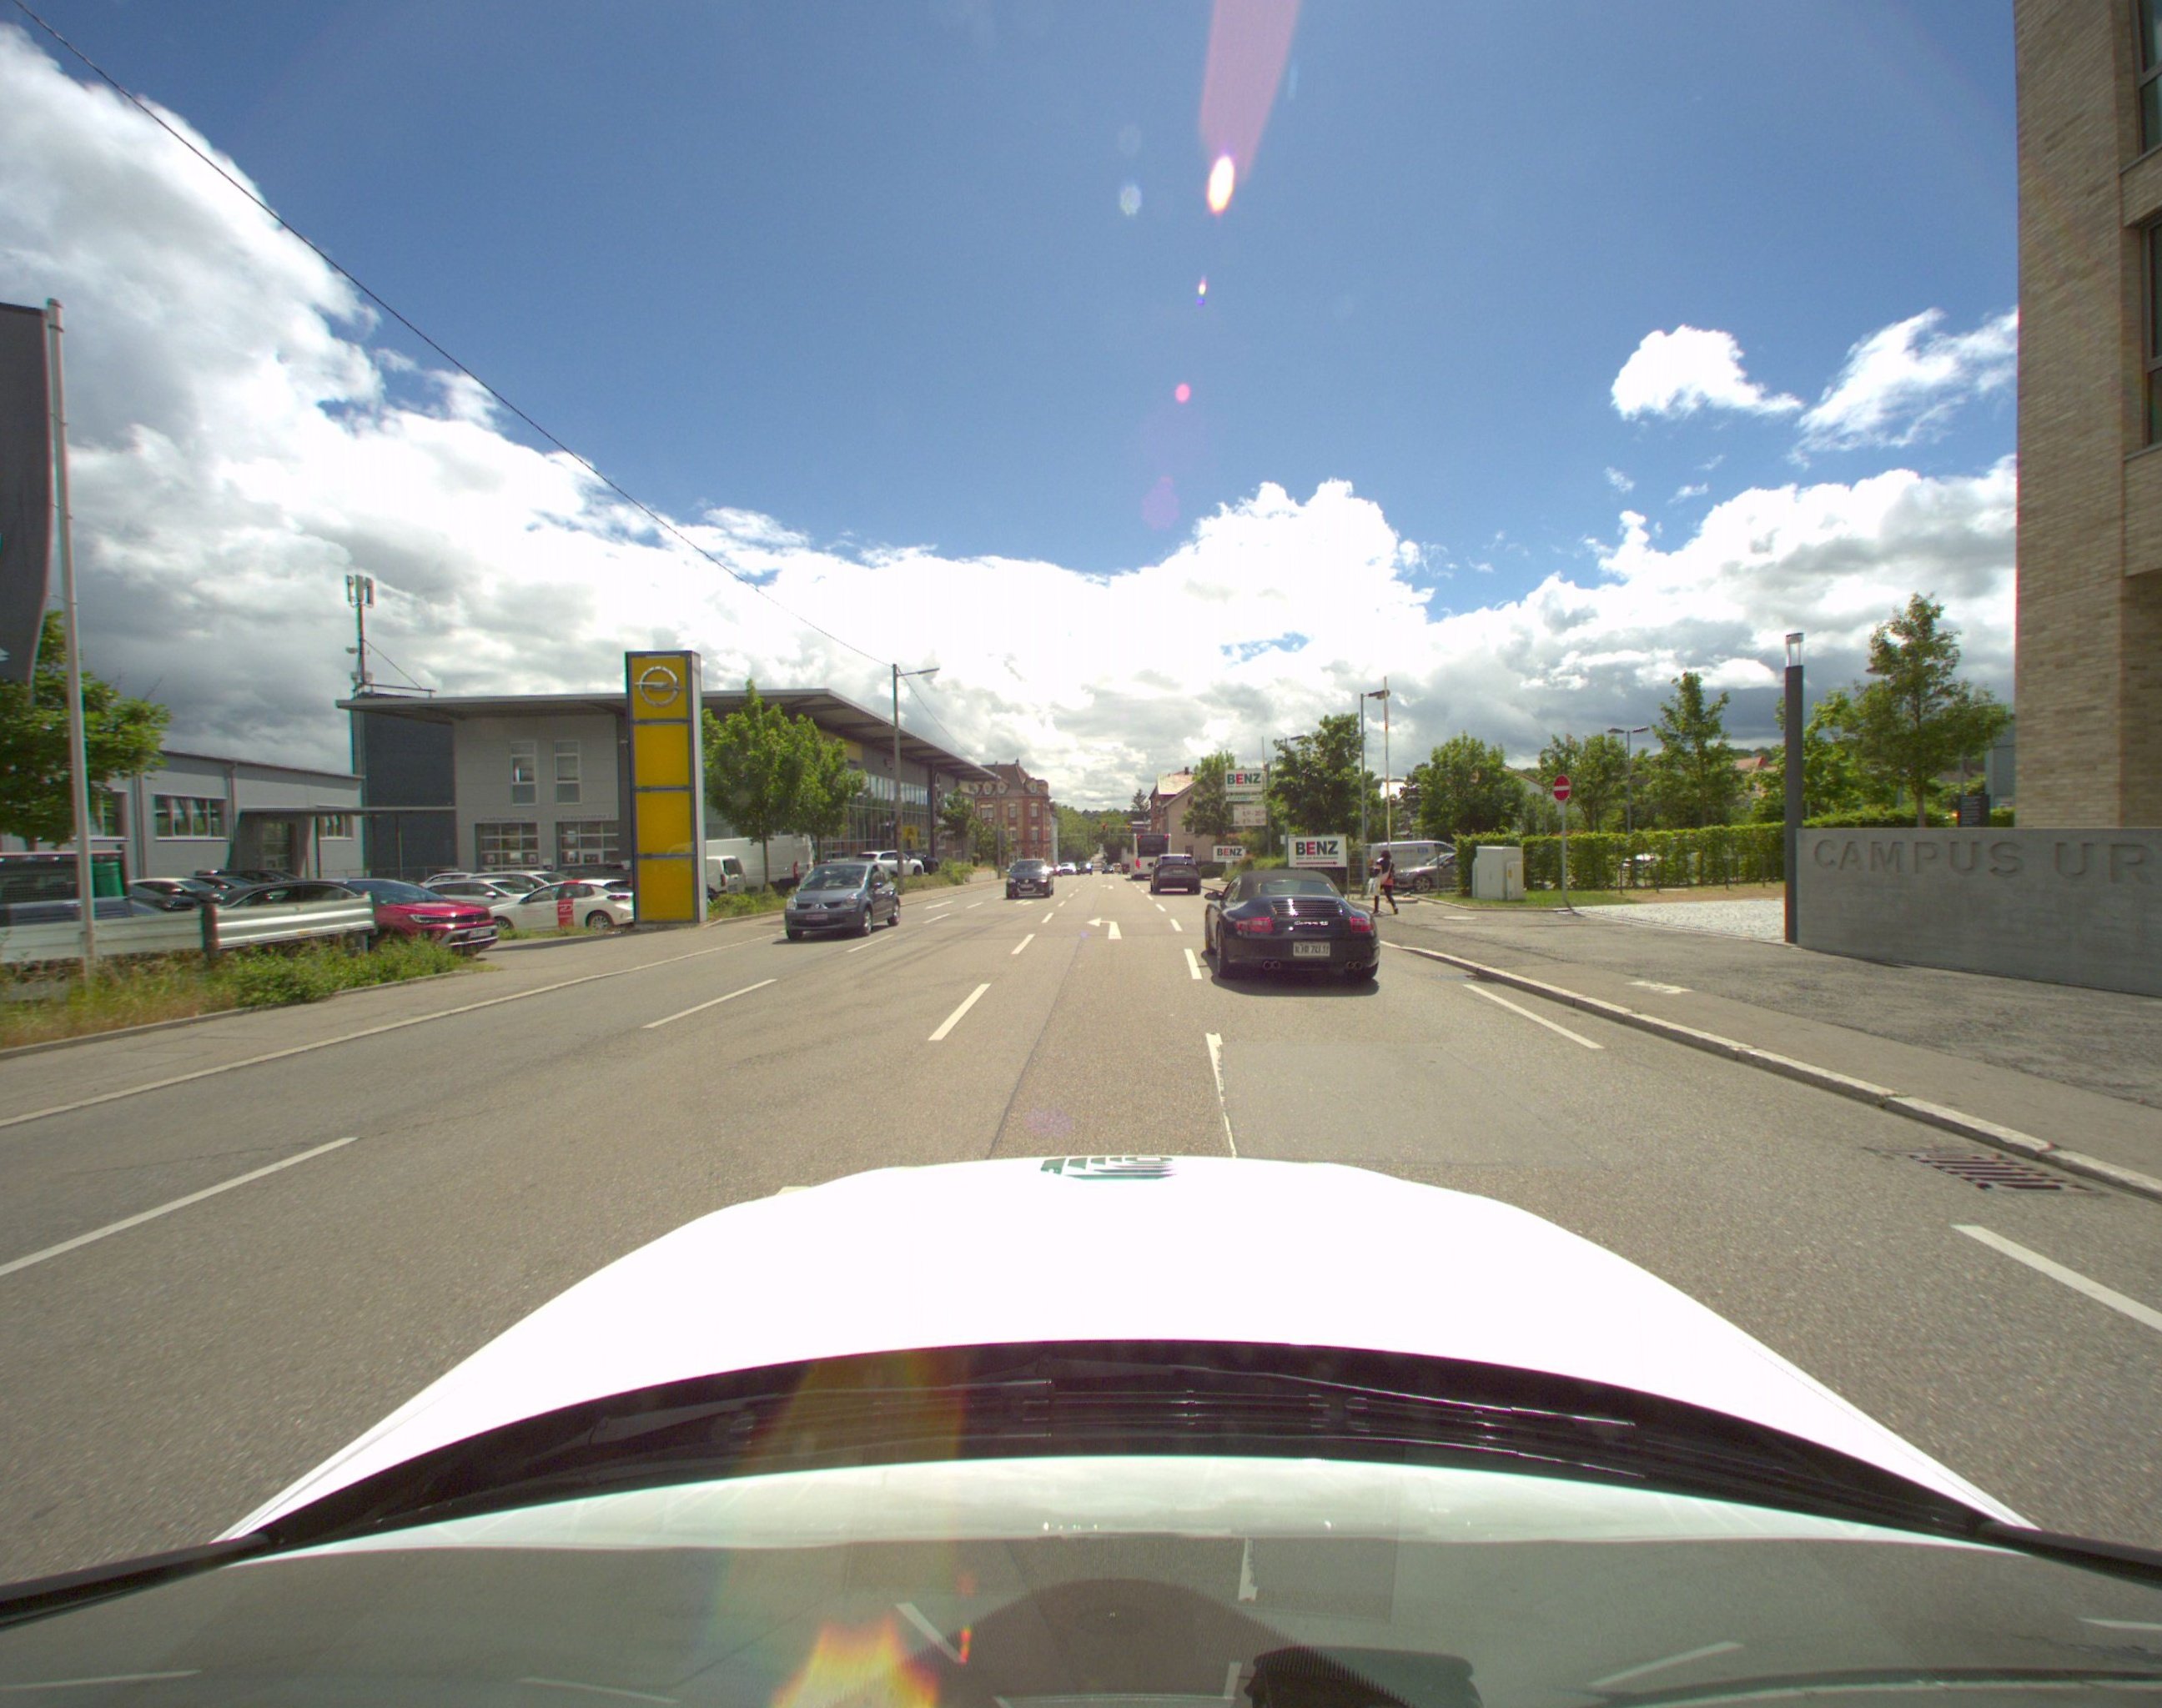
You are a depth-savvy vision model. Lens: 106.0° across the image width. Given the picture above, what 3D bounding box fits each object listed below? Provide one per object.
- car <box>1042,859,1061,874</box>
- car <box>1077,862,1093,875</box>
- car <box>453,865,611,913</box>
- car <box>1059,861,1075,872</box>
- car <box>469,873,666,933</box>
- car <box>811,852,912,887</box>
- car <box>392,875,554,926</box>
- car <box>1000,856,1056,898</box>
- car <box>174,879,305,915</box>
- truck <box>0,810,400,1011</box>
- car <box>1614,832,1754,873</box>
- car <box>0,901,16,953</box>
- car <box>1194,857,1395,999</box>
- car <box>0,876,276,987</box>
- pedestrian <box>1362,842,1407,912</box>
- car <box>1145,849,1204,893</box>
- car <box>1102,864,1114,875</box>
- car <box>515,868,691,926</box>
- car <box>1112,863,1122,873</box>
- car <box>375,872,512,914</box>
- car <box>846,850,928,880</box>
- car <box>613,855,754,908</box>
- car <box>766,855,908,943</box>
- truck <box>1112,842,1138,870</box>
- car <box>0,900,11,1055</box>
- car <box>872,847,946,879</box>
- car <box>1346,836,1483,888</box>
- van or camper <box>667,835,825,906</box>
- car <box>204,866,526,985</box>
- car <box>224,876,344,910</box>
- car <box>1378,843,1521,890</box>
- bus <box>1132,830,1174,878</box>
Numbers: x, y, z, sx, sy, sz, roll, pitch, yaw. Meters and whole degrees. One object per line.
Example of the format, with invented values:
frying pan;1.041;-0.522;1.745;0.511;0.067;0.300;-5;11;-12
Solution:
car;-3.168;1.313;89.530;1.865;1.491;3.847;-4;0;0
car;0.517;1.786;100.005;1.857;1.540;4.108;-1;-1;1
car;-19.247;1.203;28.674;4.212;1.536;1.929;-1;-1;1
car;-1.853;1.692;111.071;1.856;1.540;4.109;-1;-1;2
car;-13.621;1.276;21.790;3.973;1.409;2.000;-1;-1;0
car;-10.658;0.717;39.939;1.877;1.450;4.863;0;2;30
car;-19.310;1.453;26.007;3.685;1.398;1.846;-1;1;-2
car;-2.015;0.858;32.201;1.823;1.509;4.277;-2;0;1
car;-36.035;1.806;34.971;3.475;1.283;1.654;-2;2;-16
truck;-12.618;0.707;10.274;5.844;2.148;2.475;-2;-1;-1
car;24.862;-0.071;33.680;4.419;1.491;1.888;-3;0;-1
car;-31.627;2.055;21.254;4.244;1.409;1.914;-1;-1;-22
car;2.605;0.814;10.951;1.921;1.376;4.215;-1;2;5
car;-16.992;1.341;14.153;4.065;1.522;1.827;-4;1;1
pedestrian;6.886;0.504;18.505;0.685;1.536;0.856;-2;0;2
car;3.762;0.651;33.362;1.924;1.583;4.208;-1;1;0
car;4.145;2.397;126.328;1.857;1.666;4.260;-2;-1;1
car;-14.050;1.249;24.092;3.968;1.491;2.003;-1;2;4
car;7.216;2.819;165.024;1.826;1.881;4.000;-2;0;1
car;-24.615;1.484;31.556;3.688;1.398;1.845;-1;2;-4
car;-10.667;0.577;45.054;1.913;1.573;4.580;-2;-1;25
car;-13.990;0.942;28.825;3.965;1.705;2.005;-1;1;7
car;-5.236;0.886;18.060;1.737;1.595;4.043;-4;0;1
truck;5.416;0.305;100.782;2.658;3.108;9.034;-2;-1;0
car;-13.269;1.327;7.676;3.870;1.609;1.929;-1;-1;2
car;-10.526;0.523;50.062;1.975;1.698;4.513;0;2;28
car;13.576;0.322;33.279;4.701;1.848;2.085;-3;-1;-6
van or camper;-12.807;0.588;31.399;5.008;2.530;2.319;-1;1;1
car;-12.291;1.182;14.160;3.971;1.588;1.755;-4;1;2
car;-36.329;1.748;37.219;3.475;1.283;1.654;-2;2;-16
car;13.687;0.469;30.445;4.416;1.481;2.000;-3;-1;1
bus;5.247;-0.190;60.854;2.790;3.197;12.210;-1;2;4
